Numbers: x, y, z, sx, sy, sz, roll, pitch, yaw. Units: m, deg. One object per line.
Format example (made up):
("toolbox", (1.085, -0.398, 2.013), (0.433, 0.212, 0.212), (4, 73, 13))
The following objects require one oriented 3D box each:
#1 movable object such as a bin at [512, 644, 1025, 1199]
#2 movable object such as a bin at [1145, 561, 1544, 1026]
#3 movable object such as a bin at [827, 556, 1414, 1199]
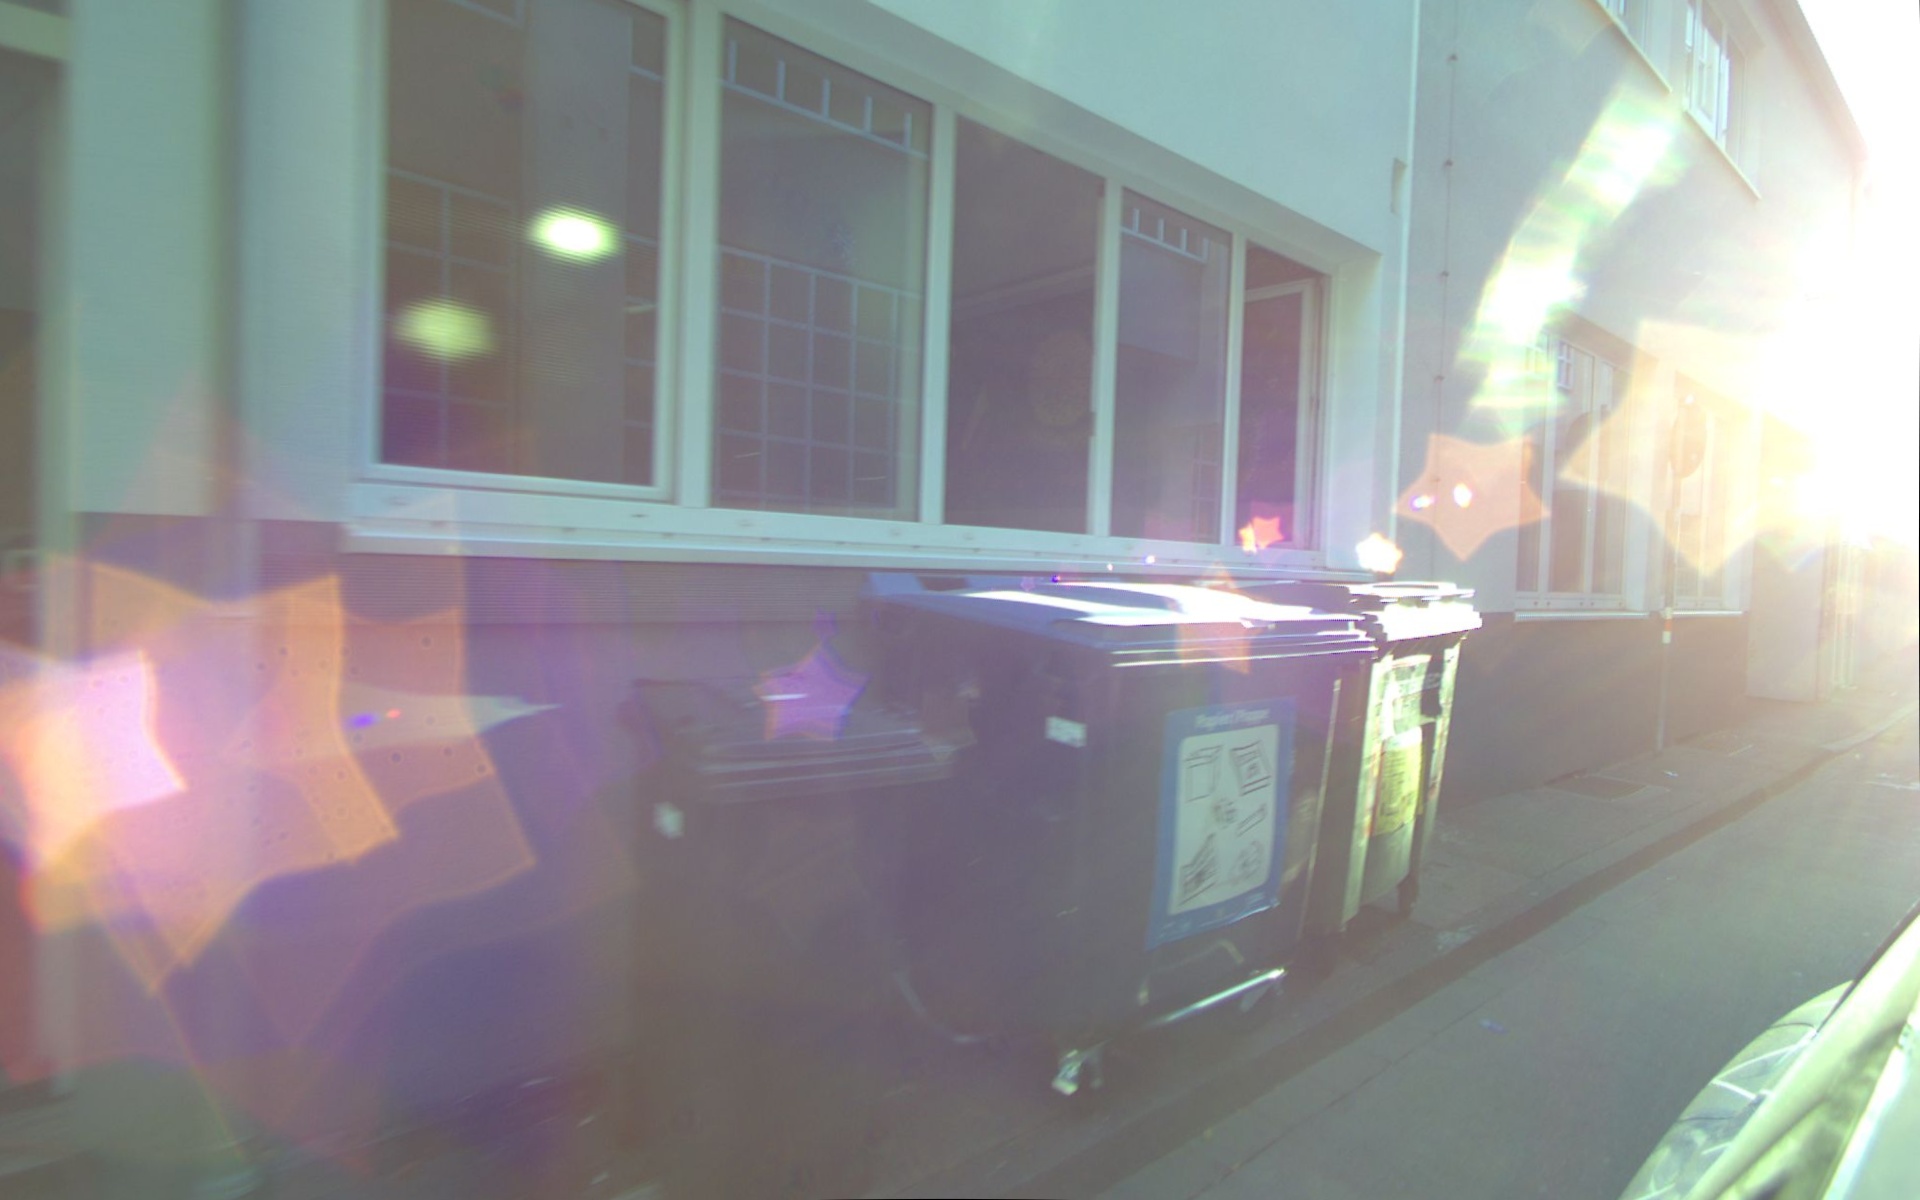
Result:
("movable object such as a bin", (-0.447, 0.702, 2.226), (0.726, 1.087, 0.871), (0, 4, -43))
("movable object such as a bin", (1.508, 0.580, 3.901), (0.937, 1.383, 1.321), (6, 4, 42))
("movable object such as a bin", (0.484, 0.605, 2.993), (1.320, 1.383, 1.066), (0, 5, -43))
